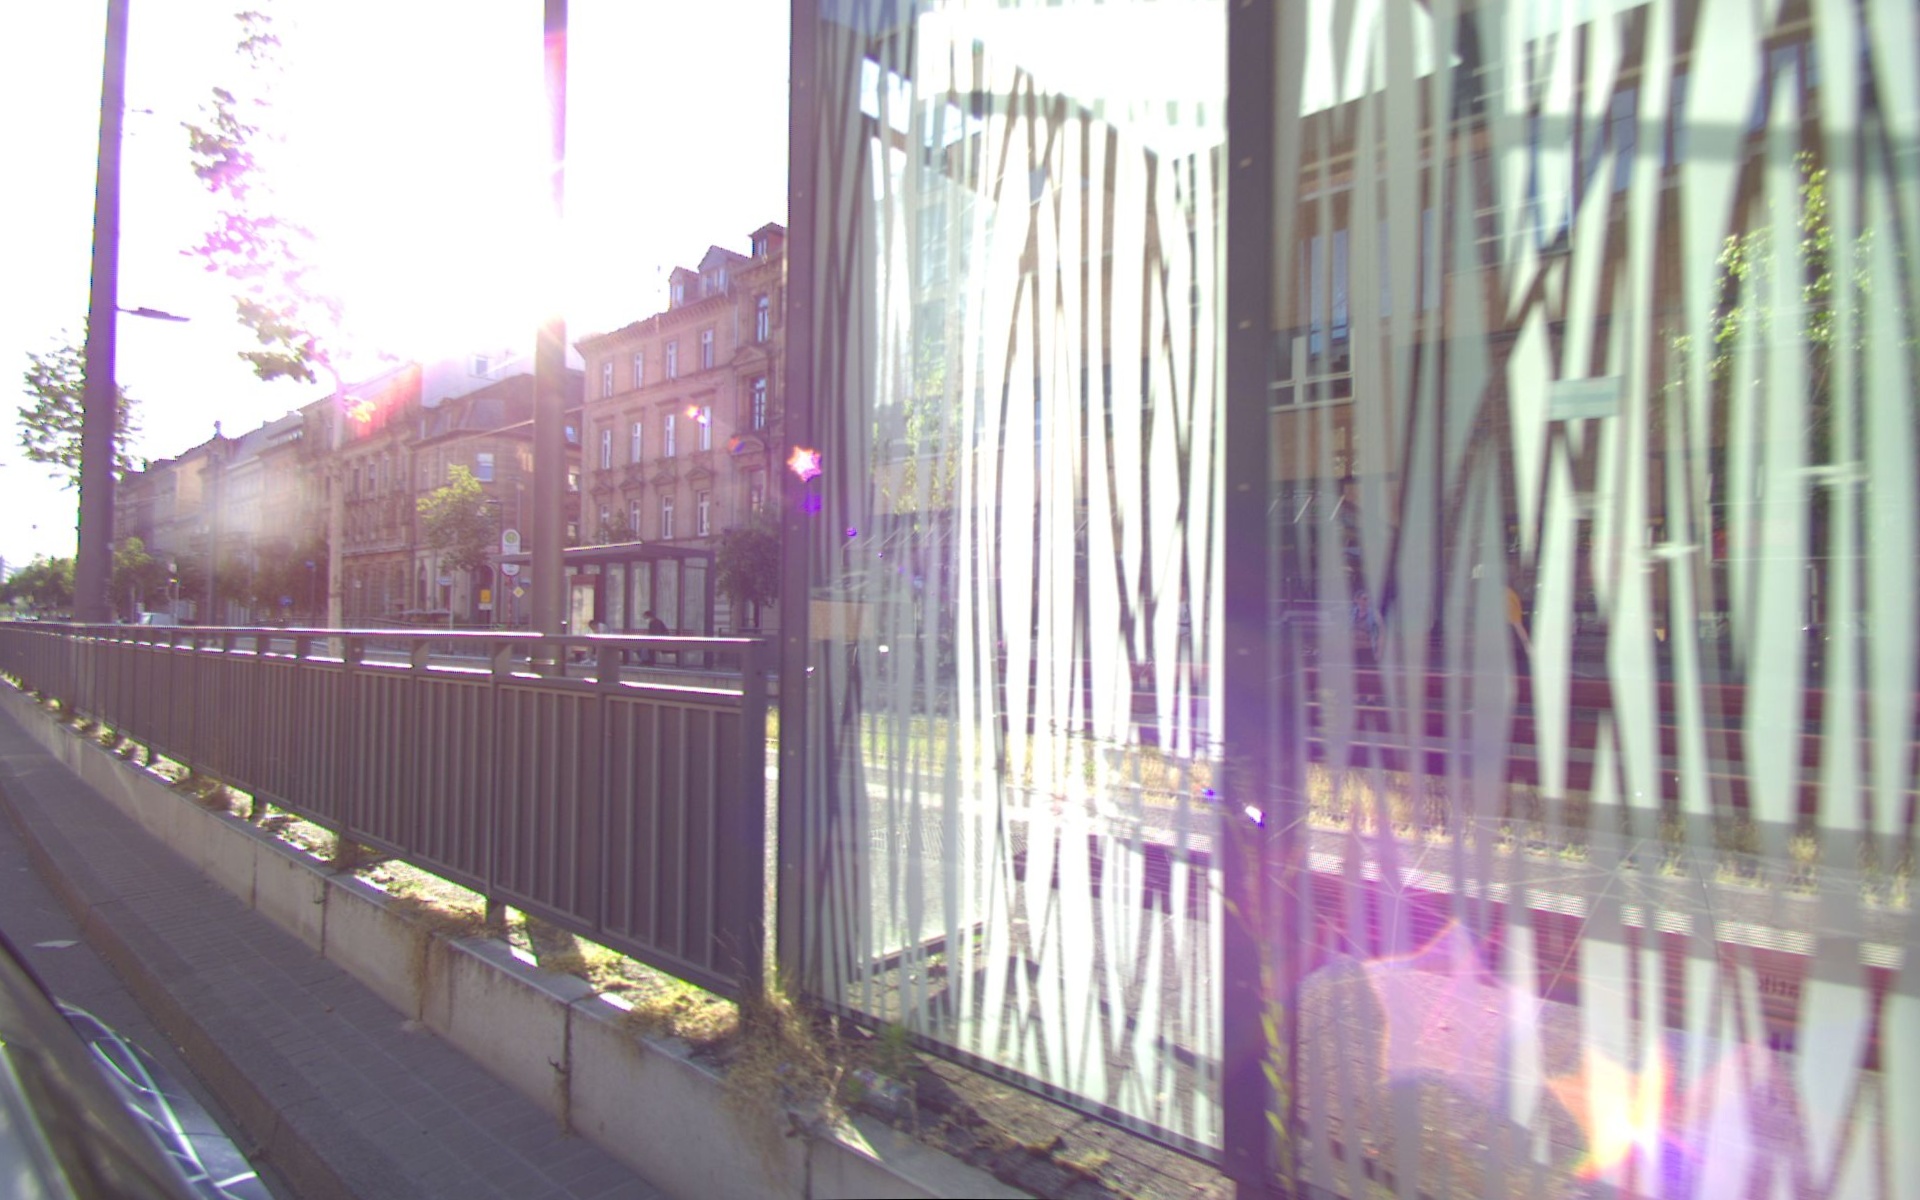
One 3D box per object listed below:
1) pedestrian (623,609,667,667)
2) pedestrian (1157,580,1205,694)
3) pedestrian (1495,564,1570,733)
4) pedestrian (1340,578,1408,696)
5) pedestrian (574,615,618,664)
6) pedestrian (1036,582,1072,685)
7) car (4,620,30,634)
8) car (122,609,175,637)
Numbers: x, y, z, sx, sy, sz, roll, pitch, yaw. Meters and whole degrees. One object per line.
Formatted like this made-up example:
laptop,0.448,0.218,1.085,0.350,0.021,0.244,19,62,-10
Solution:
pedestrian,-7.335,0.894,23.575,0.721,1.319,0.639,-1,-4,42
pedestrian,3.245,0.531,14.867,0.553,1.633,0.374,-1,0,42
pedestrian,6.047,0.492,10.681,0.541,1.708,0.633,-1,0,42
pedestrian,5.341,0.459,13.053,0.642,1.470,0.533,-1,0,42
pedestrian,-8.936,0.964,24.840,0.721,1.177,0.713,-1,-4,42
pedestrian,1.543,0.539,16.609,0.416,1.661,0.374,-1,0,42
car,-109.538,3.135,117.521,4.476,1.652,1.777,-1,-2,42
car,-58.365,1.648,72.763,4.578,1.894,1.974,-1,1,39
